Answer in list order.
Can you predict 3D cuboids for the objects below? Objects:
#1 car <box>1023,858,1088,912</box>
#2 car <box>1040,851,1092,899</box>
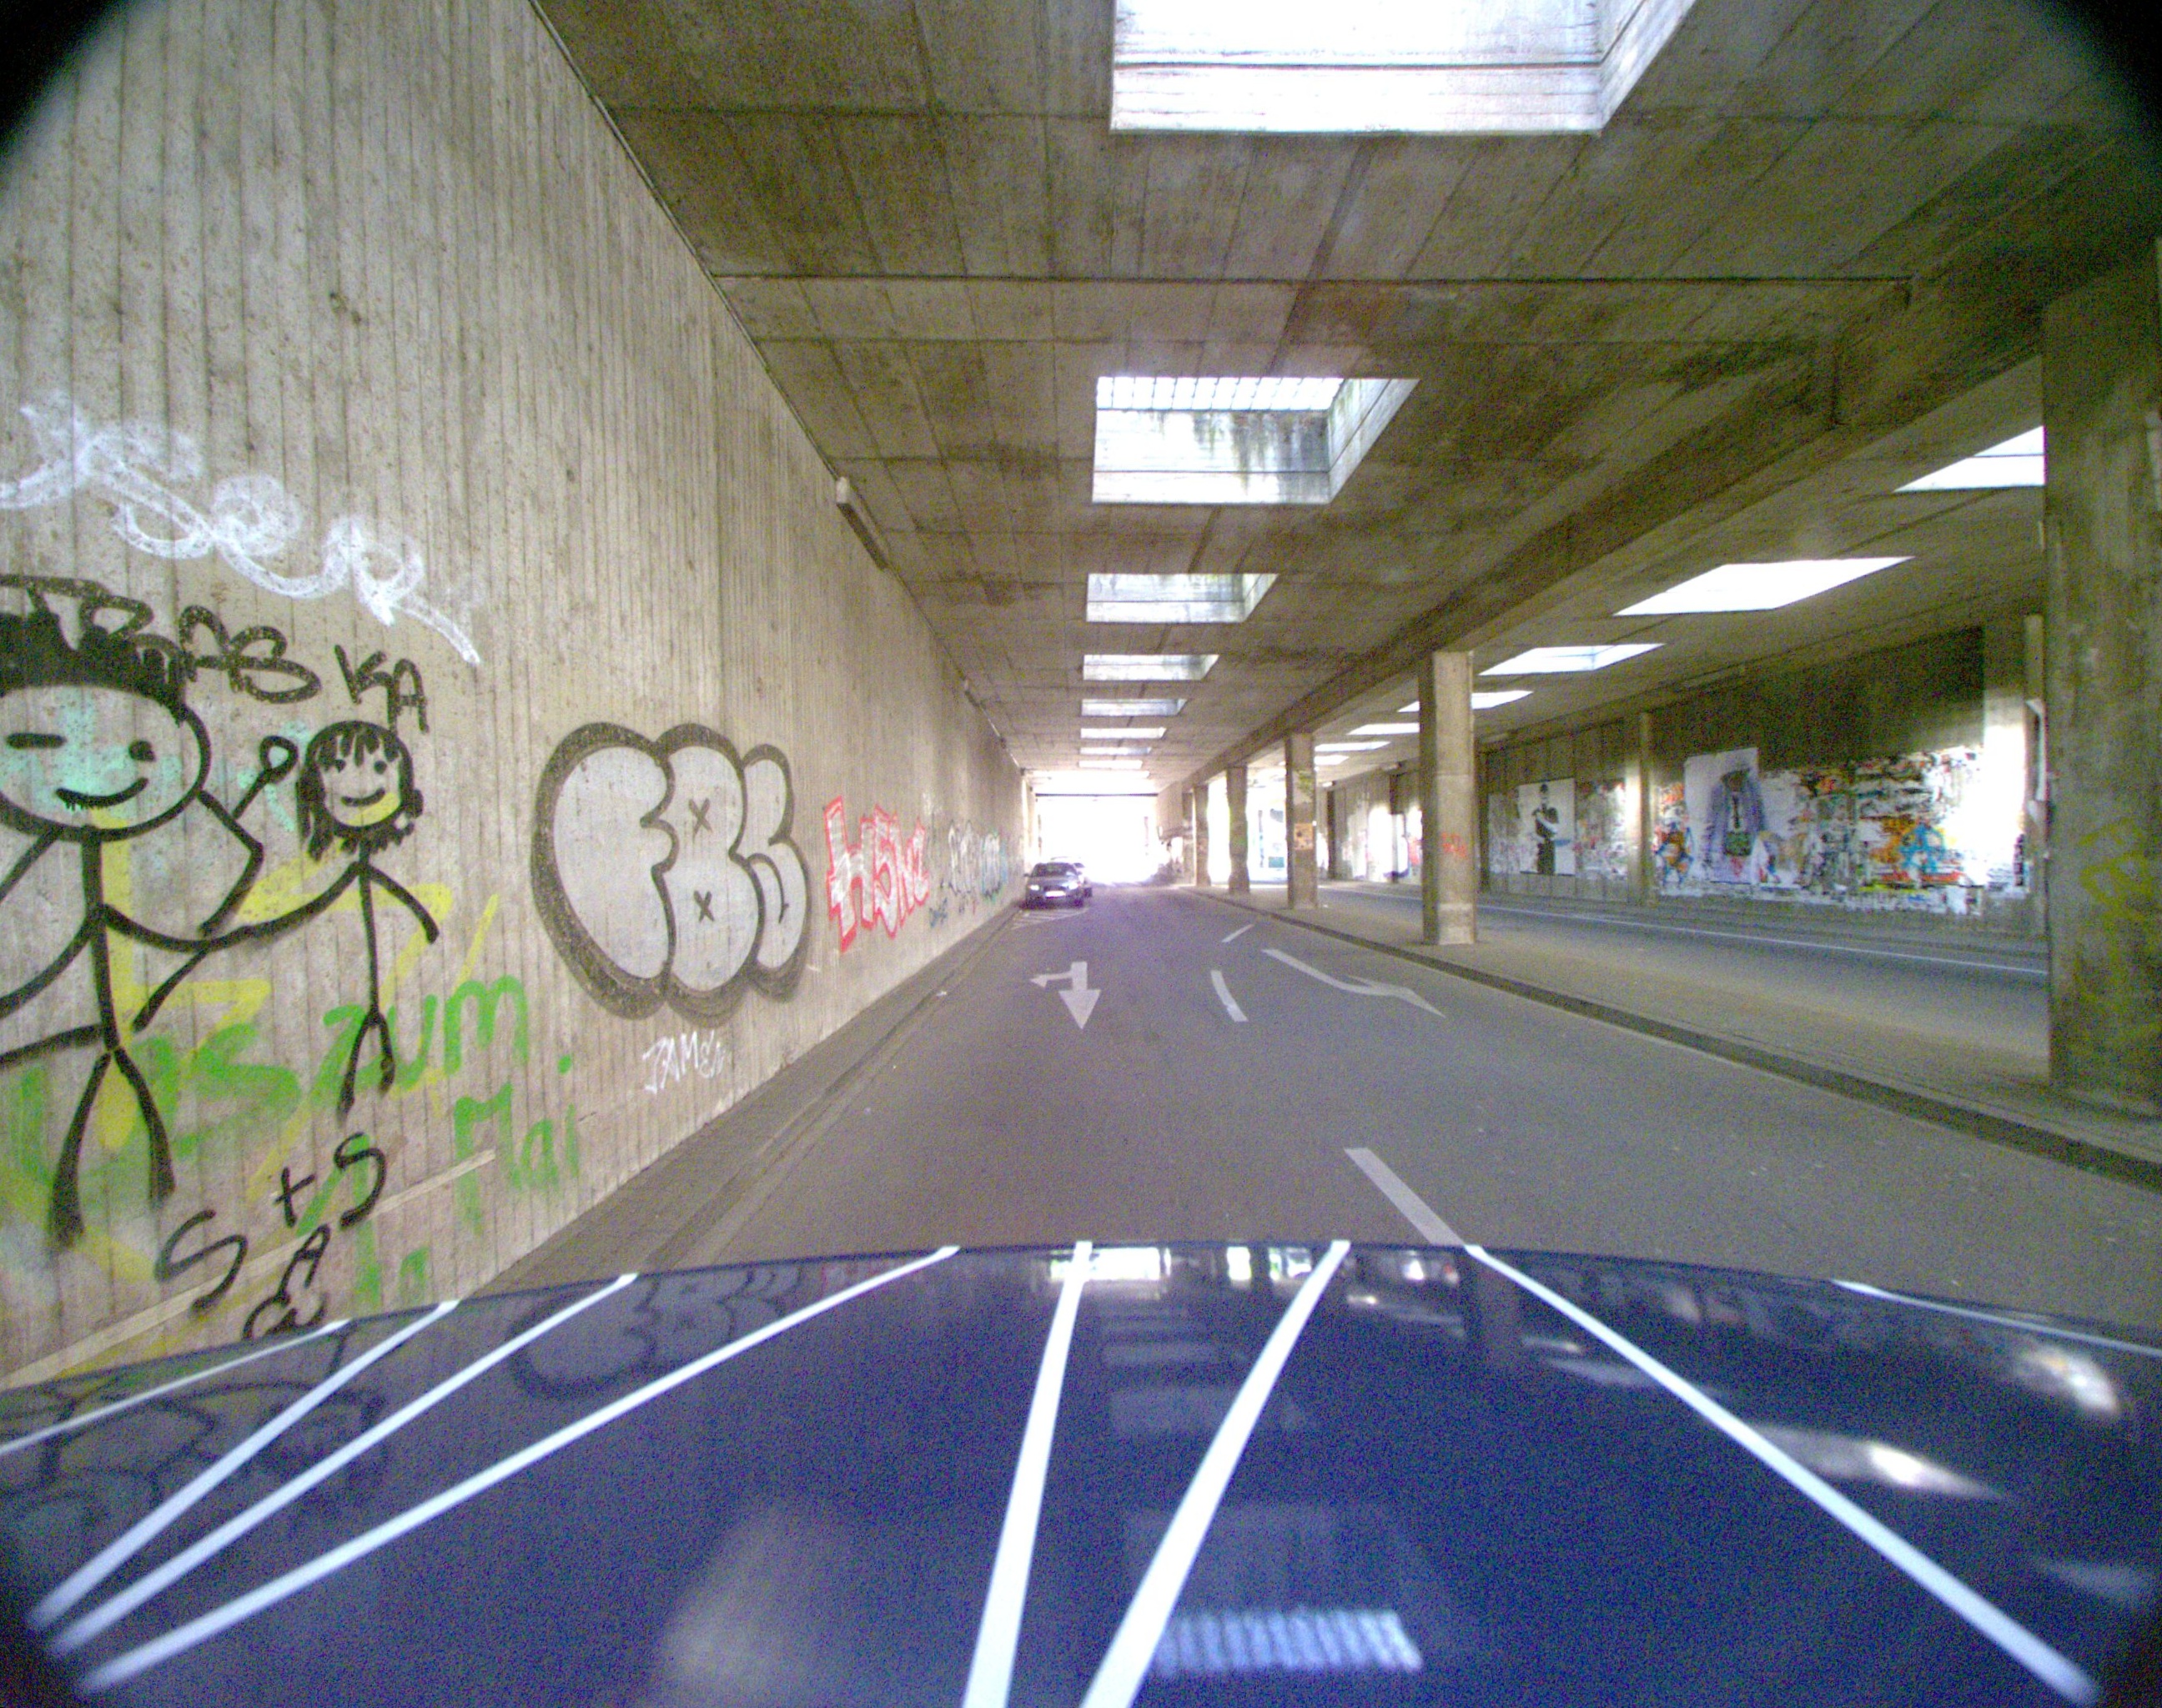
[{"bbox_3d":[-0.721,0.908,24.062,1.808,1.460,4.000,-2,0,1],"label":"car"},{"bbox_3d":[-0.516,0.764,29.854,1.861,1.709,4.000,-2,0,1],"label":"car"}]
